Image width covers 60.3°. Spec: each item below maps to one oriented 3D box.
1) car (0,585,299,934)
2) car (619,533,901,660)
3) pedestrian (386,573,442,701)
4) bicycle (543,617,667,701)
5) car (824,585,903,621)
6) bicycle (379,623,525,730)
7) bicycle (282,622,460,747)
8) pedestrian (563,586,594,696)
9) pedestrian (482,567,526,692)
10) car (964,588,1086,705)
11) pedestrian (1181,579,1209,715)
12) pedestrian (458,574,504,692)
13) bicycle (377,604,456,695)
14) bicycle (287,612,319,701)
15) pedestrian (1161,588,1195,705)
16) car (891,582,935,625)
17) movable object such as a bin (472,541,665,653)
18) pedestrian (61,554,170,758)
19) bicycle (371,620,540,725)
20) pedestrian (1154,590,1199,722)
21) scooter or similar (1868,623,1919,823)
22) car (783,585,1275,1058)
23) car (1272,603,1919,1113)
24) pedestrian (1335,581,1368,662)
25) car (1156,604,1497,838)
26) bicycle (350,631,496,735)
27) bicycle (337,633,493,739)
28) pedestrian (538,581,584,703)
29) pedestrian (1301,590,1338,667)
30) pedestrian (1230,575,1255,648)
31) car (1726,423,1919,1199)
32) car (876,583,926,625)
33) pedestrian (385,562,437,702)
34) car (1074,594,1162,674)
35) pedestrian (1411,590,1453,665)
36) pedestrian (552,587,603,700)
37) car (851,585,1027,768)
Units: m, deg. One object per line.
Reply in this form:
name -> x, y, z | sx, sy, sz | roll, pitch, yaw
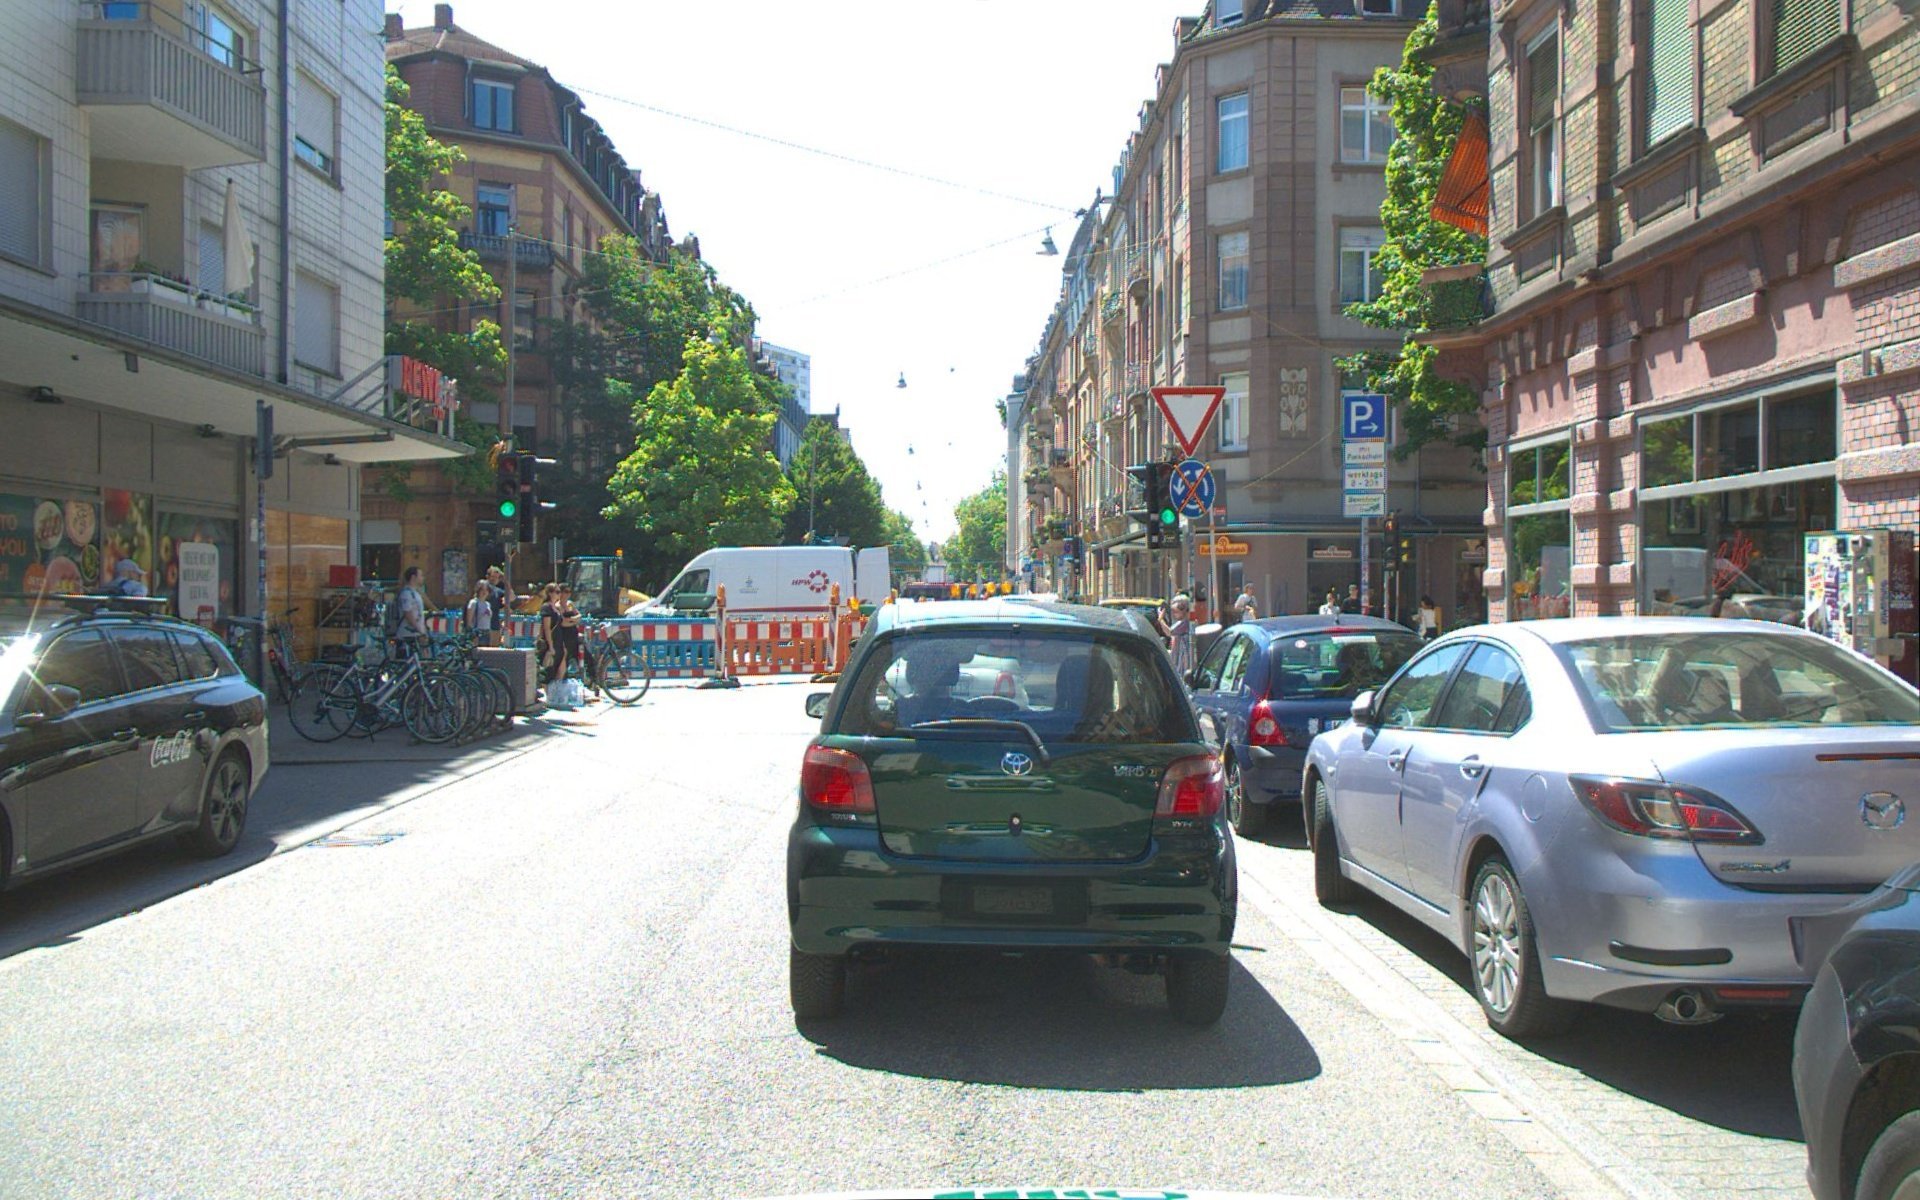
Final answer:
car -> -5.151, 0.711, 8.583 | 1.636, 1.551, 4.463 | 1, 0, 0
car -> -4.774, -0.086, 40.366 | 6.486, 2.799, 2.380 | 2, 0, 0
pedestrian -> -7.956, 0.525, 24.128 | 0.519, 1.828, 0.938 | 0, 0, -1
bicycle -> -5.177, 0.846, 24.075 | 1.767, 1.139, 0.468 | 2, 0, 21
car -> -5.970, 0.192, 102.189 | 4.506, 2.226, 1.982 | 0, 0, -28
bicycle -> -5.718, 0.861, 18.660 | 1.489, 1.136, 0.335 | 2, 0, -5
bicycle -> -5.899, 0.842, 16.625 | 1.553, 1.159, 0.526 | 2, 0, -5
pedestrian -> -5.789, 0.617, 25.106 | 0.382, 1.646, 0.475 | 0, 0, -3
pedestrian -> -6.829, 0.432, 24.789 | 0.499, 1.852, 0.599 | 0, 0, -3
car -> 1.032, 0.636, 24.774 | 1.490, 1.620, 3.266 | 0, 0, 8
pedestrian -> 2.979, 0.593, 21.001 | 0.325, 1.705, 0.402 | 0, 0, 5
pedestrian -> -6.836, 0.460, 23.625 | 0.499, 1.661, 0.599 | 0, 0, -3
bicycle -> -7.949, 0.695, 24.262 | 0.524, 1.269, 2.012 | 0, 0, -1
bicycle -> -8.686, 0.732, 21.894 | 0.316, 1.105, 1.425 | 1, 1, -19
pedestrian -> 2.982, 0.629, 22.658 | 0.450, 1.587, 0.479 | 0, 0, 5
car -> -1.968, 0.165, 70.074 | 1.719, 1.674, 4.377 | -3, 0, -1
movable object such as a bin -> -10.112, -0.084, 43.006 | 4.449, 2.705, 1.955 | 2, 0, 1
pedestrian -> -7.441, 0.481, 14.598 | 0.617, 1.757, 0.658 | 0, 0, 0
bicycle -> -5.867, 0.840, 19.302 | 1.763, 1.142, 0.577 | 2, -1, -7
pedestrian -> 2.638, 0.674, 20.173 | 0.482, 1.570, 0.437 | -2, 0, 5
scooter or similar -> 5.980, 0.751, 10.147 | 0.286, 1.197, 1.273 | 0, 0, 9
car -> 0.259, 0.727, 7.027 | 1.580, 1.511, 3.241 | 1, 0, 1
car -> 2.711, 0.760, 7.127 | 1.691, 1.457, 4.483 | -1, 0, -3
pedestrian -> 8.905, 0.488, 37.630 | 0.564, 1.799, 0.471 | -2, 3, -9
car -> 2.573, 0.779, 12.447 | 1.595, 1.457, 3.658 | -1, 0, -3
bicycle -> -5.825, 0.901, 17.967 | 1.419, 1.054, 0.335 | 2, 0, -5
bicycle -> -5.756, 0.908, 17.514 | 1.465, 1.048, 0.397 | 3, 0, -5
pedestrian -> -5.465, 0.571, 22.675 | 0.530, 1.661, 0.511 | 0, 0, -3
pedestrian -> 8.142, 0.639, 37.437 | 0.688, 1.673, 0.422 | -2, 3, -9
pedestrian -> 6.885, 0.278, 40.287 | 0.467, 1.763, 0.872 | 0, -1, 18
car -> 2.674, 0.568, 1.496 | 1.788, 1.798, 4.336 | -1, 0, -3
car -> -2.137, 0.146, 60.470 | 1.719, 1.469, 3.999 | 0, 0, -1
pedestrian -> -7.188, 0.412, 21.656 | 0.499, 1.801, 0.599 | 0, 0, -3
car -> 3.094, 0.627, 32.421 | 1.593, 1.457, 3.663 | -1, 0, 6
pedestrian -> 10.486, 0.611, 36.749 | 0.784, 1.652, 0.643 | 0, 0, 5
pedestrian -> -5.512, 0.617, 23.833 | 0.486, 1.593, 0.459 | 2, 1, 25
car -> -0.207, 0.641, 15.679 | 1.491, 1.547, 3.263 | 0, 0, -1
